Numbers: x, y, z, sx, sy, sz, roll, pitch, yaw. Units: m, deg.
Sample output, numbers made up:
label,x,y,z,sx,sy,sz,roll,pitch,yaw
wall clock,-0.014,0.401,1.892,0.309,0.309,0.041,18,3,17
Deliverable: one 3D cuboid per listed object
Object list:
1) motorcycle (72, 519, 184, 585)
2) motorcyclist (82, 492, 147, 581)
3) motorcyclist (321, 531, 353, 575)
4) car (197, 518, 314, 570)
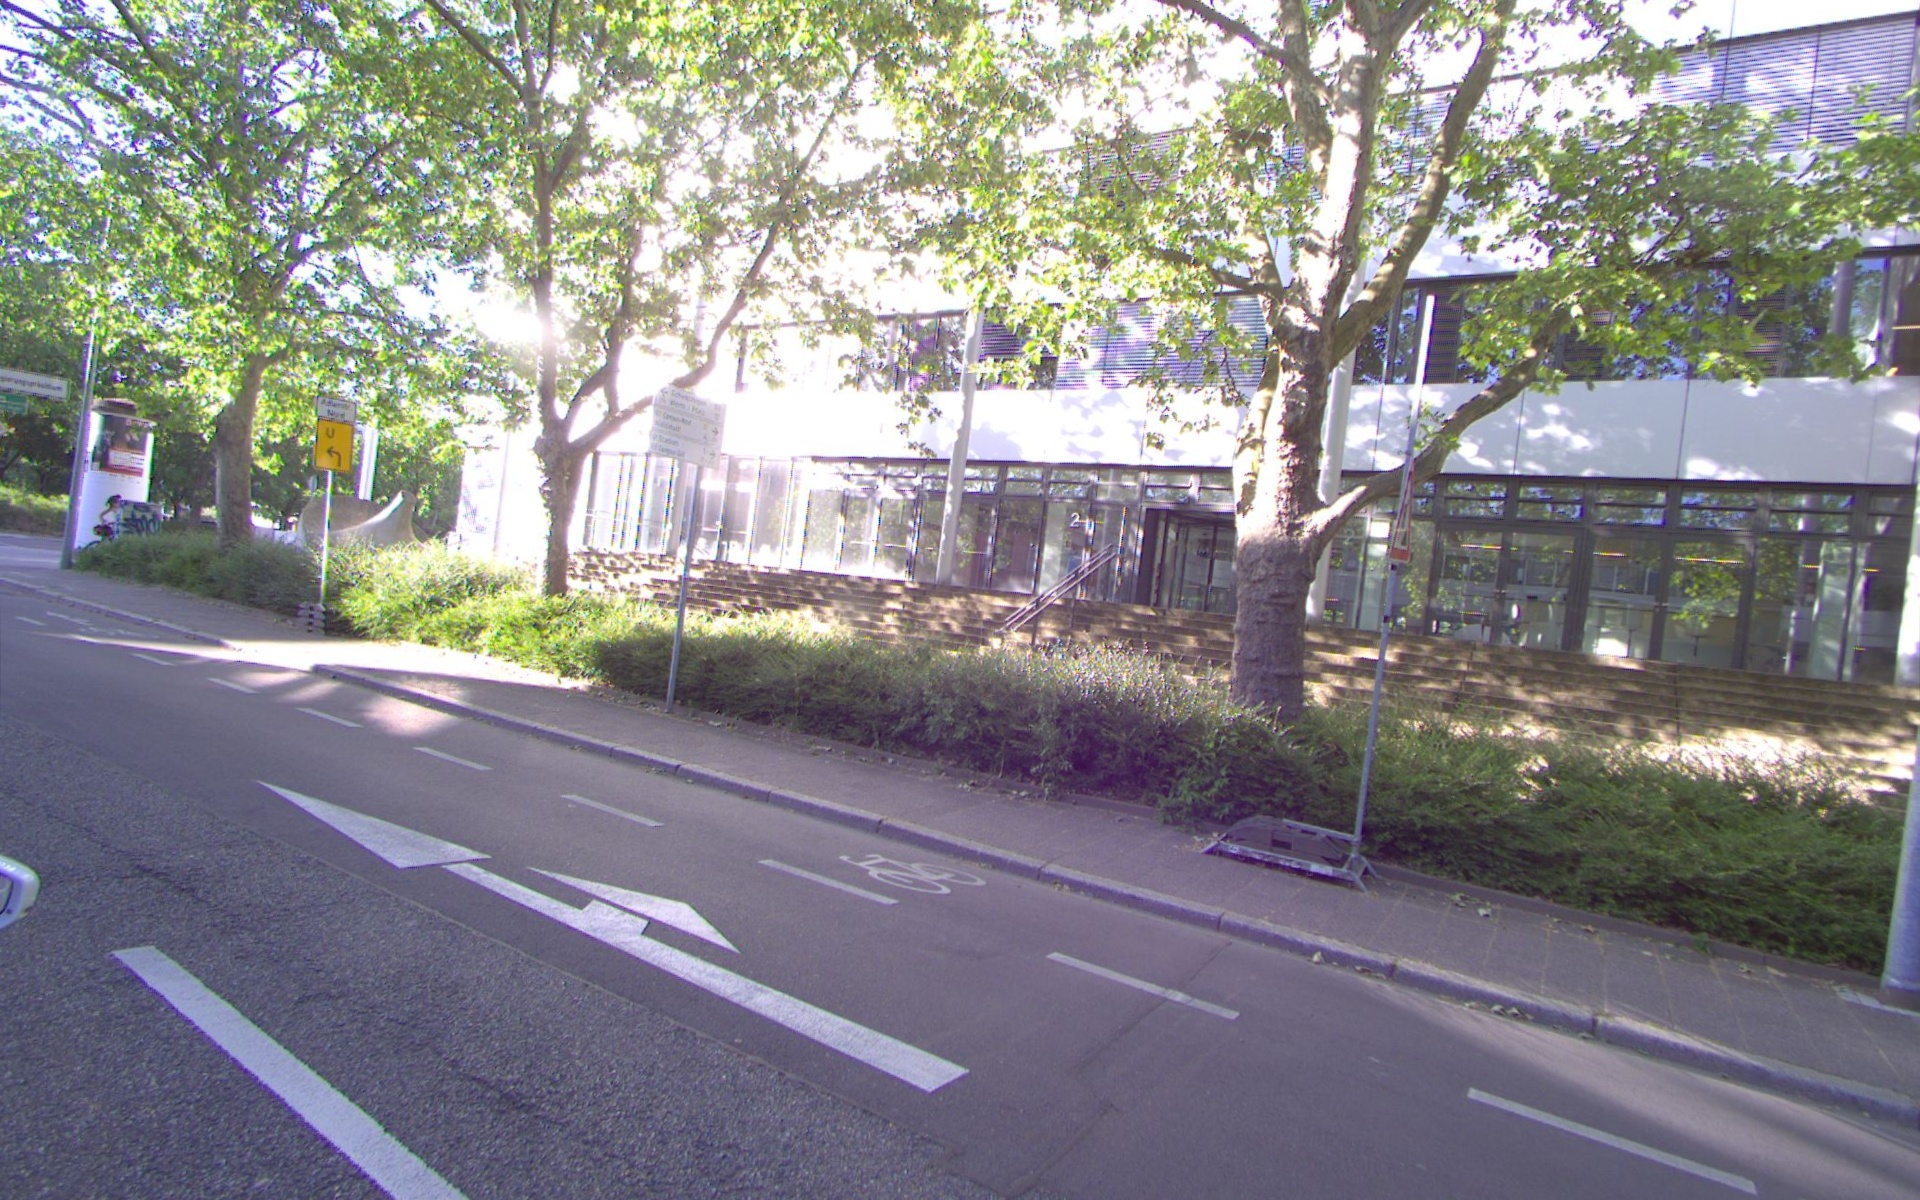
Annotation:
label,x,y,z,sx,sy,sz,roll,pitch,yaw
motorcycle,-19.230,-1.095,23.286,0.712,1.257,1.782,6,-2,37
motorcyclist,-19.357,-1.450,23.038,0.662,1.885,0.823,6,-1,37
motorcyclist,-28.495,-2.147,46.001,0.370,1.899,0.983,6,-1,36
car,-32.704,-2.565,46.828,1.708,1.792,3.996,7,-1,30
